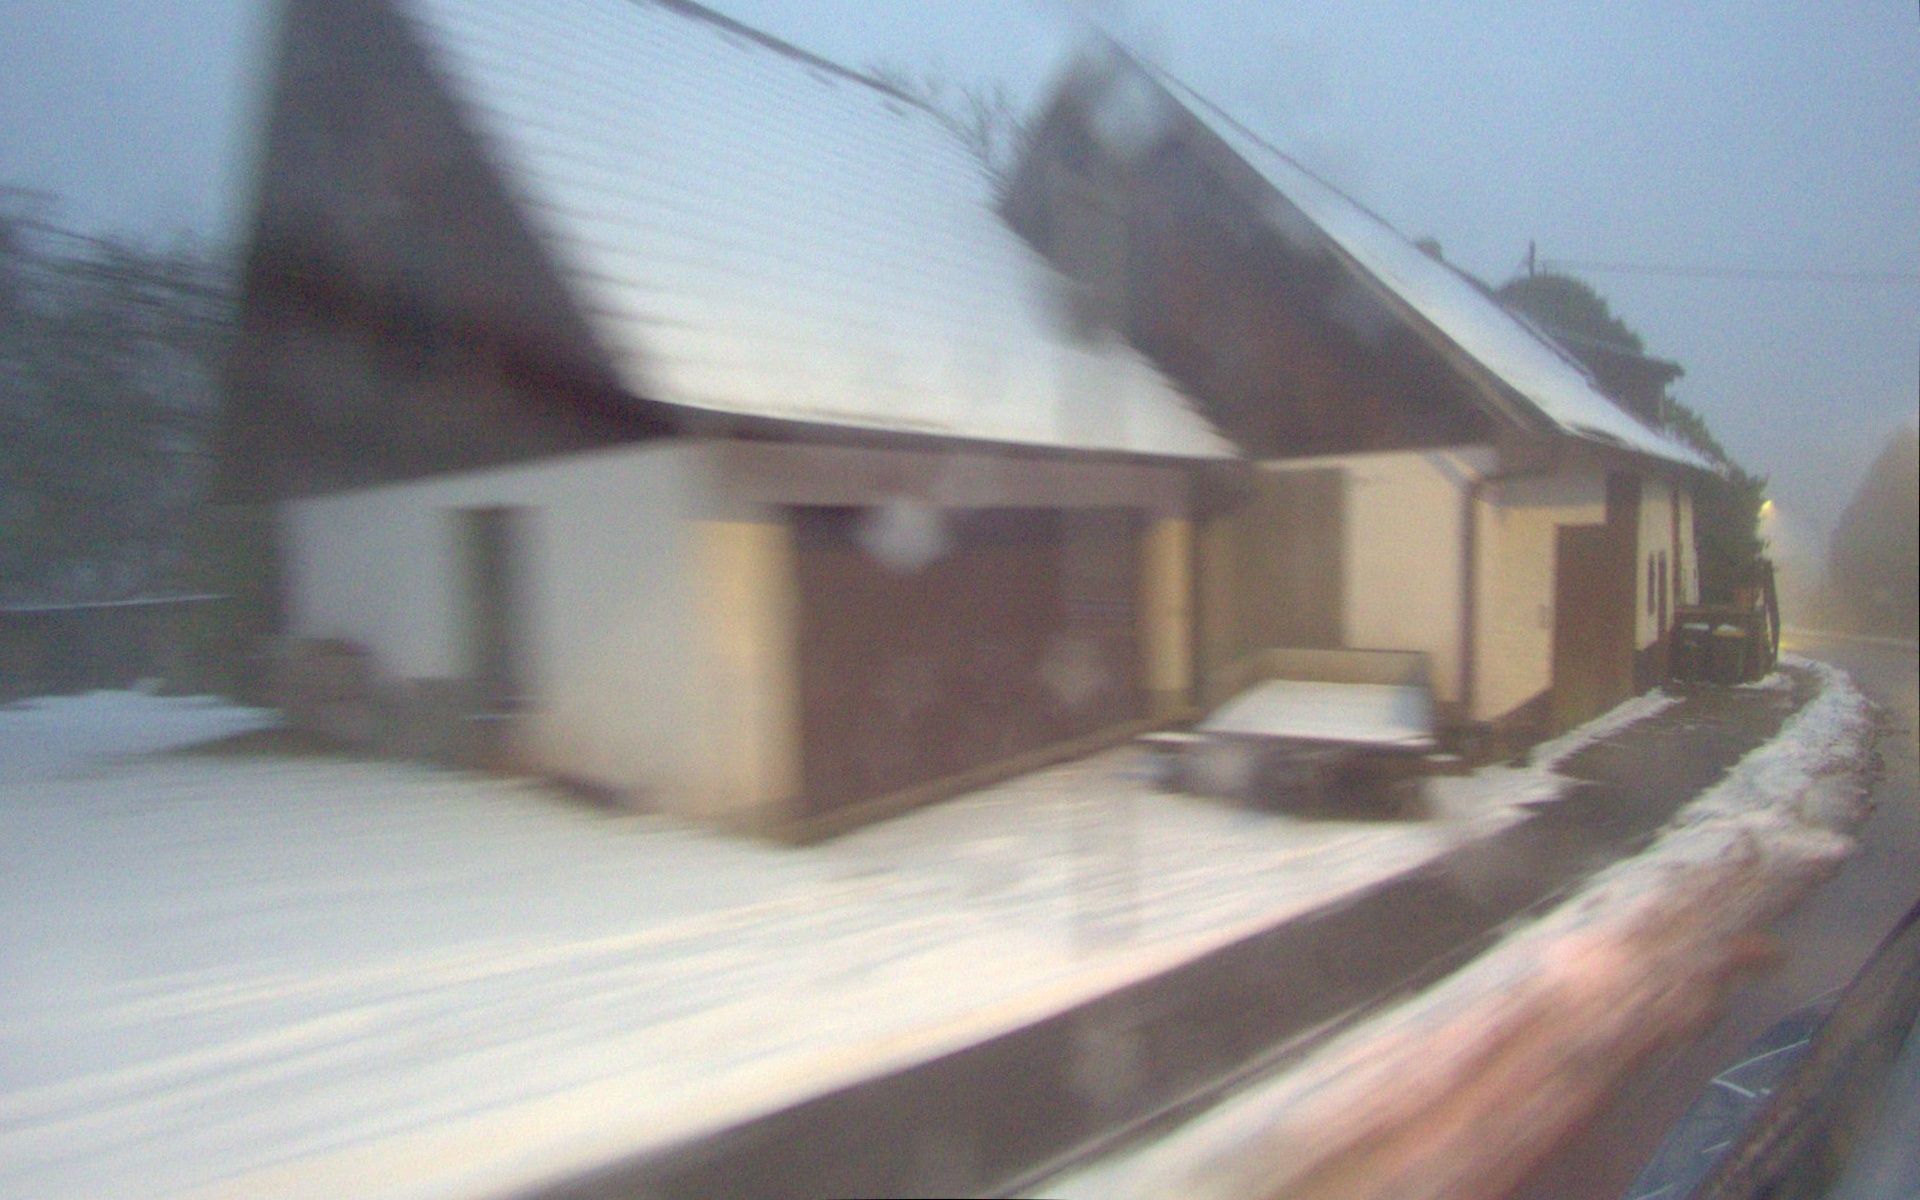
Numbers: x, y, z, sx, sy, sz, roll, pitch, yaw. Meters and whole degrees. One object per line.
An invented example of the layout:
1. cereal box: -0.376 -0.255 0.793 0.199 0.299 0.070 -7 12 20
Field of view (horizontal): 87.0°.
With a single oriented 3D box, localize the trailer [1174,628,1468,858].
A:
1. trailer: 2.790 0.813 7.464 1.533 0.957 3.967 2 2 25
